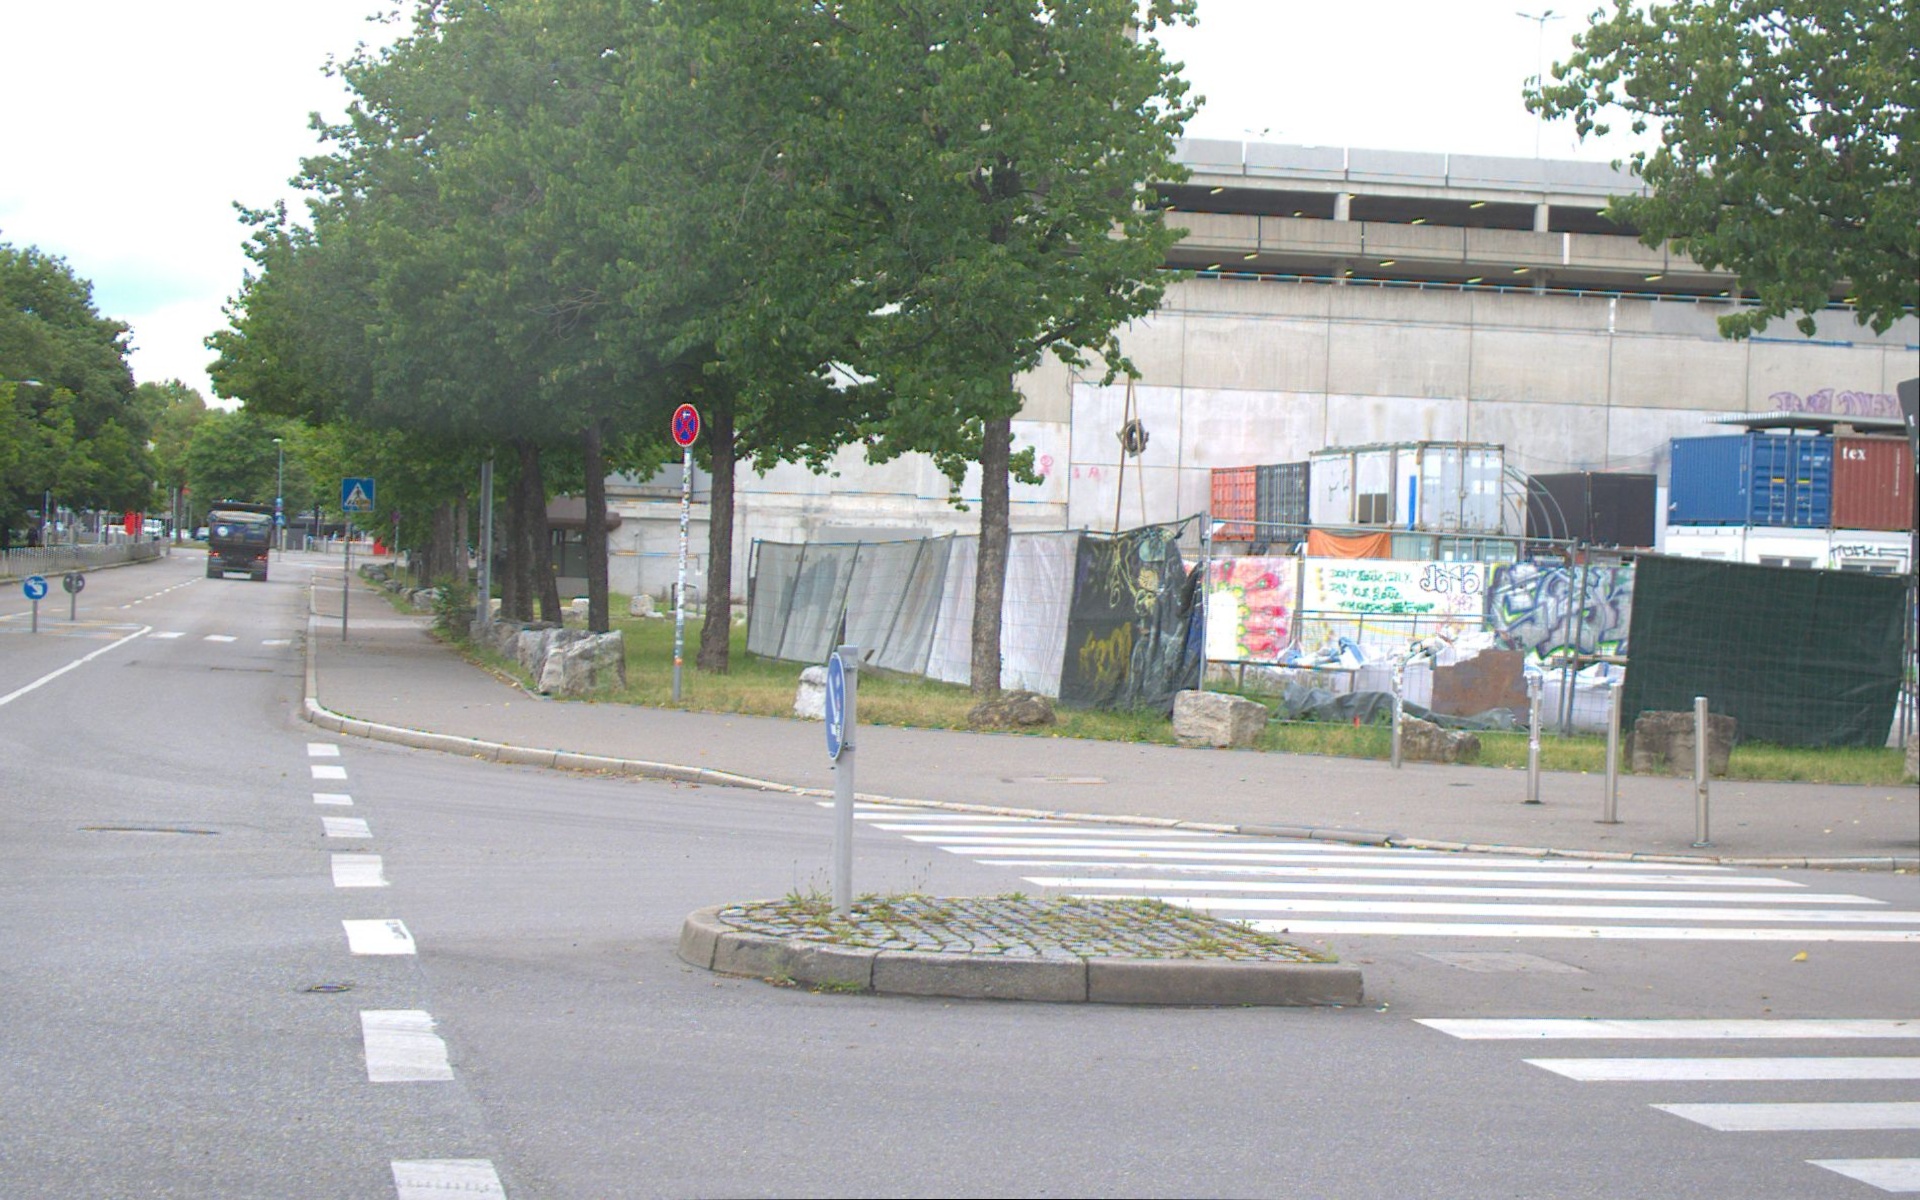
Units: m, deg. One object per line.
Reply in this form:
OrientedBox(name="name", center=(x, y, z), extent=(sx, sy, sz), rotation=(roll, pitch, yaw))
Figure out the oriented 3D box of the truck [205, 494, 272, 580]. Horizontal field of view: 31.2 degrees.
OrientedBox(name="truck", center=(-30.893, -2.654, 147.401), extent=(2.672, 3.546, 7.925), rotation=(-1, 0, -11))
